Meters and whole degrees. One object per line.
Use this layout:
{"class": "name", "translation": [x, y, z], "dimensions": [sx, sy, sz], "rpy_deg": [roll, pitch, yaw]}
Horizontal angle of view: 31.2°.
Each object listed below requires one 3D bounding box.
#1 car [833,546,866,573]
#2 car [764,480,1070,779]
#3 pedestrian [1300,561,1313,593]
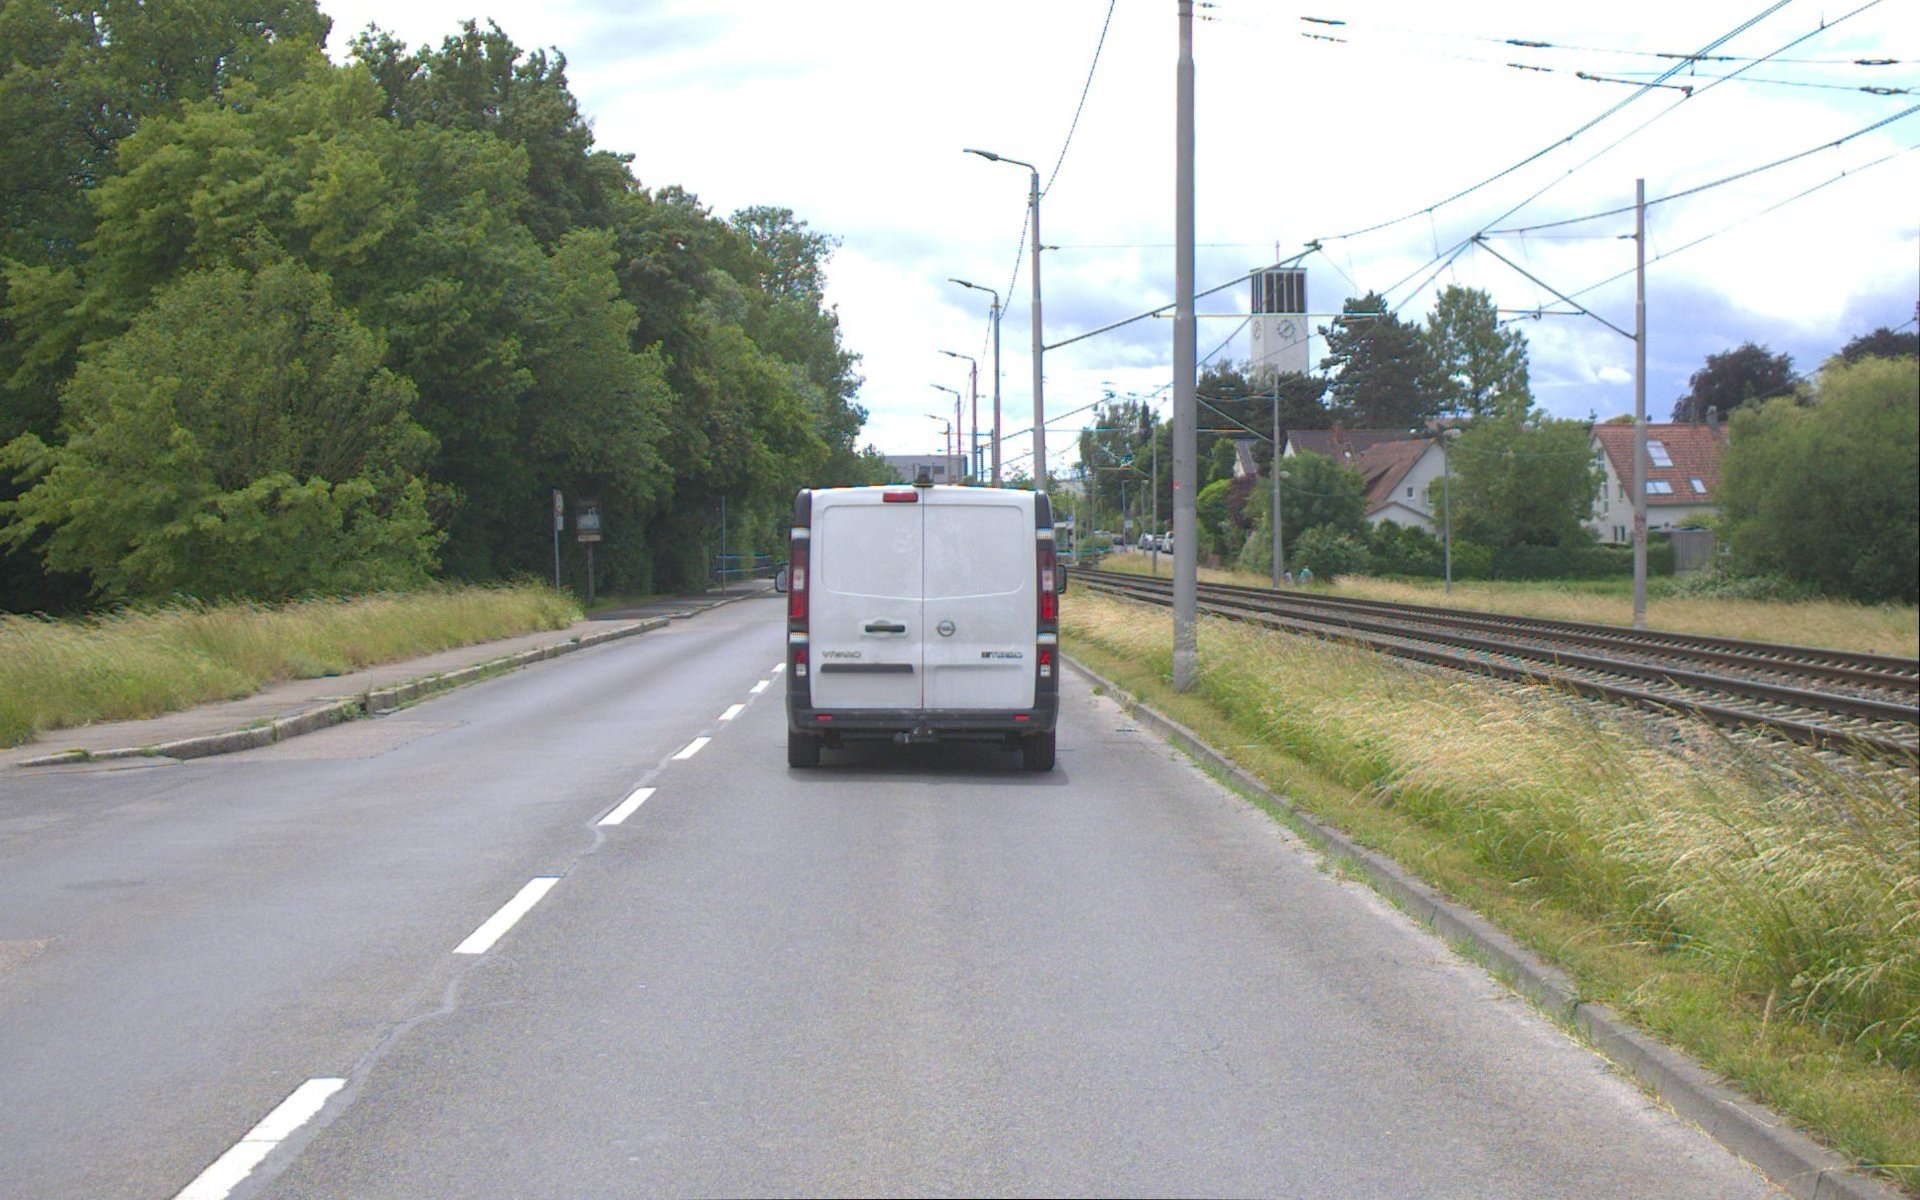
{"class": "car", "translation": [-7.046, -2.569, 219.994], "dimensions": [1.993, 1.711, 4.124], "rpy_deg": [0, 1, -1]}
{"class": "car", "translation": [-0.347, 0.184, 24.620], "dimensions": [1.993, 1.950, 4.000], "rpy_deg": [0, 0, -2]}
{"class": "pedestrian", "translation": [16.687, -1.111, 165.404], "dimensions": [0.526, 1.501, 0.657], "rpy_deg": [0, 0, -1]}
